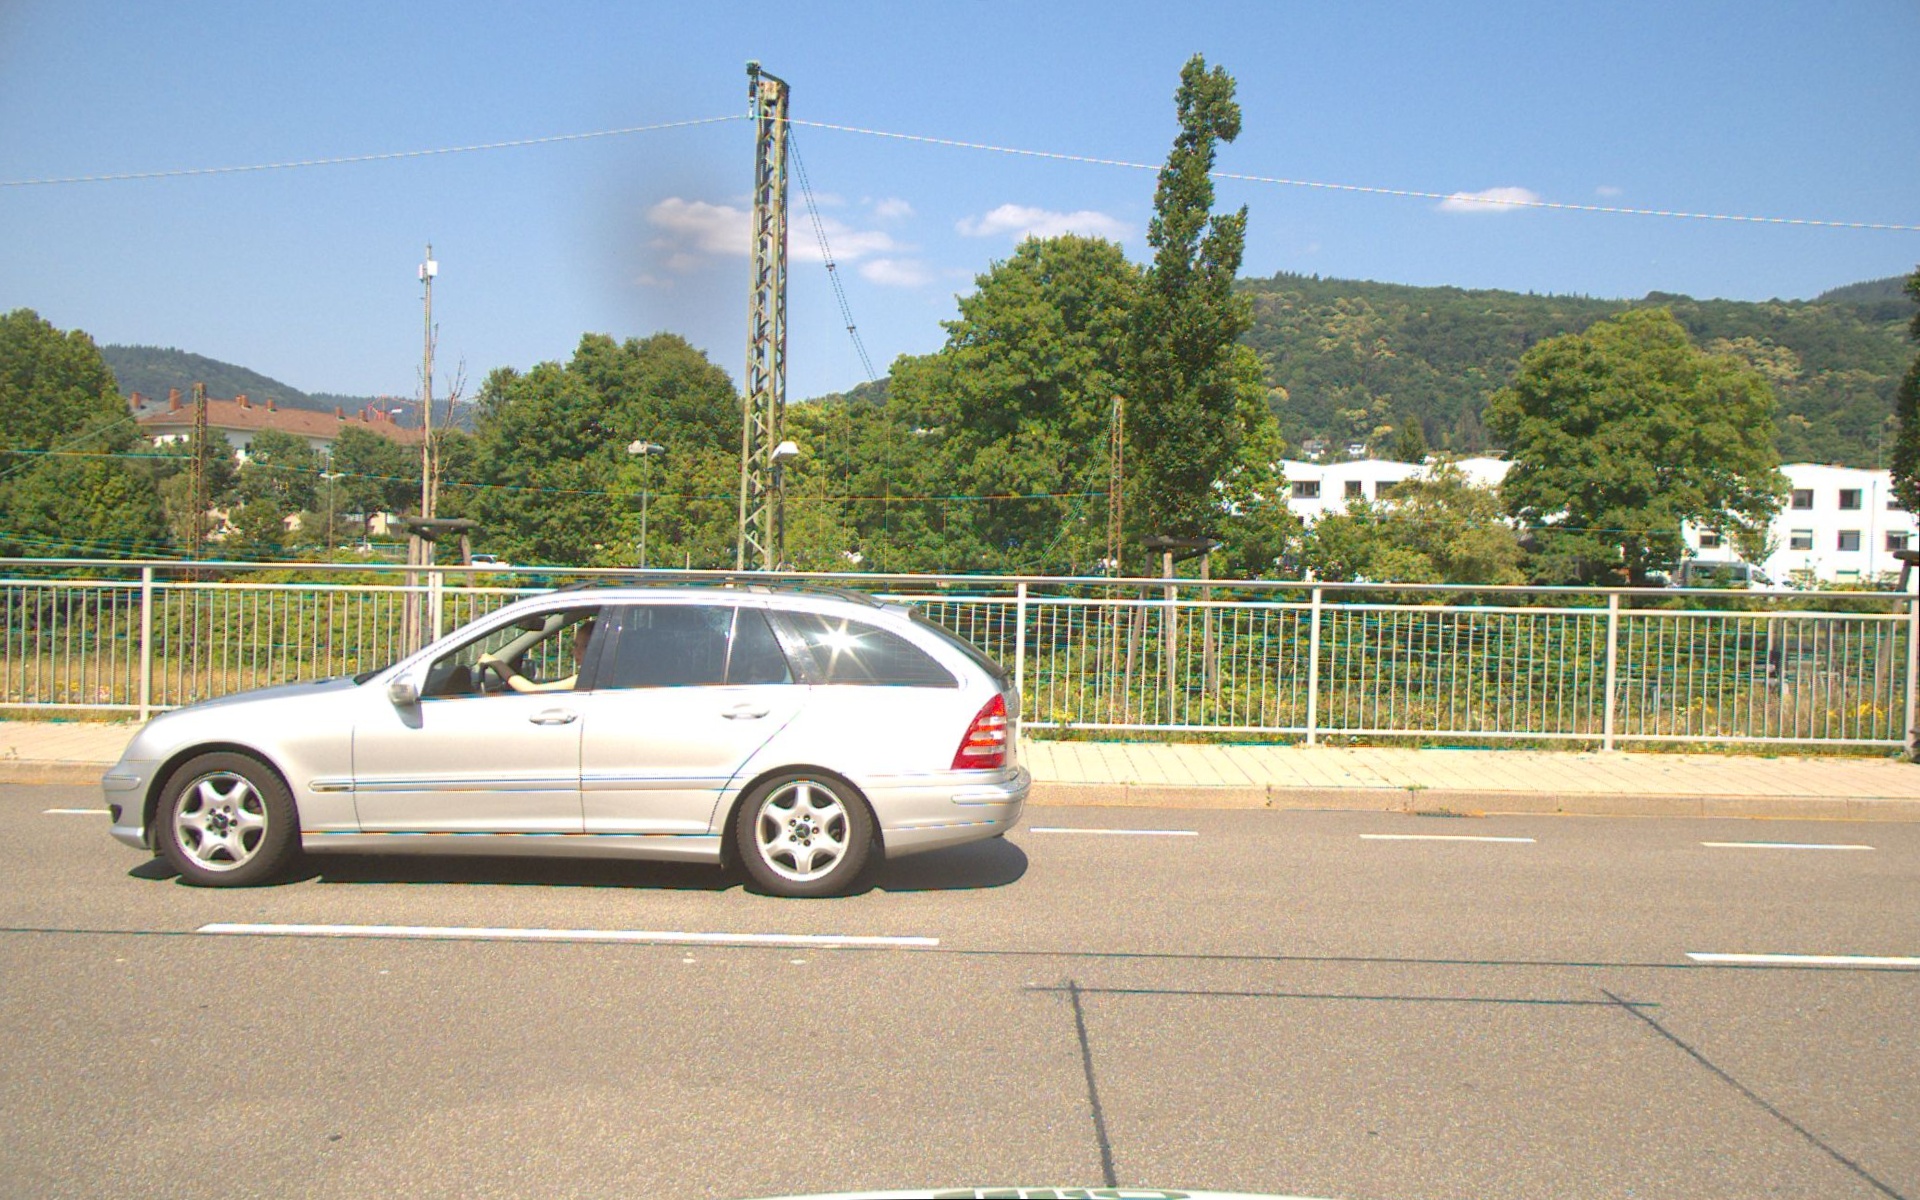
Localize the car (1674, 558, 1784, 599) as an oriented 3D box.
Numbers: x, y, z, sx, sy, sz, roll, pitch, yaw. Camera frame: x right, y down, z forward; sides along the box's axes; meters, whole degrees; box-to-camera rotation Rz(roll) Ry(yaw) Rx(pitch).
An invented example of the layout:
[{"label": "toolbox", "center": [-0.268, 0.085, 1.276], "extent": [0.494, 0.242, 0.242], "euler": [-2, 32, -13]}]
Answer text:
[{"label": "car", "center": [44.390, -1.223, 95.621], "extent": [5.383, 2.139, 2.136], "euler": [0, -4, 11]}]

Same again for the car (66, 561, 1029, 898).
[{"label": "car", "center": [-1.824, 0.572, 8.218], "extent": [4.282, 1.428, 1.714], "euler": [1, 0, 1]}]

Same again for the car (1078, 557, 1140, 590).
[{"label": "car", "center": [10.067, -1.778, 111.598], "extent": [3.839, 2.049, 1.756], "euler": [0, -3, 18]}]

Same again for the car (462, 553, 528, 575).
[{"label": "car", "center": [-31.267, -2.446, 111.208], "extent": [4.221, 1.390, 1.863], "euler": [2, 2, 30]}]
